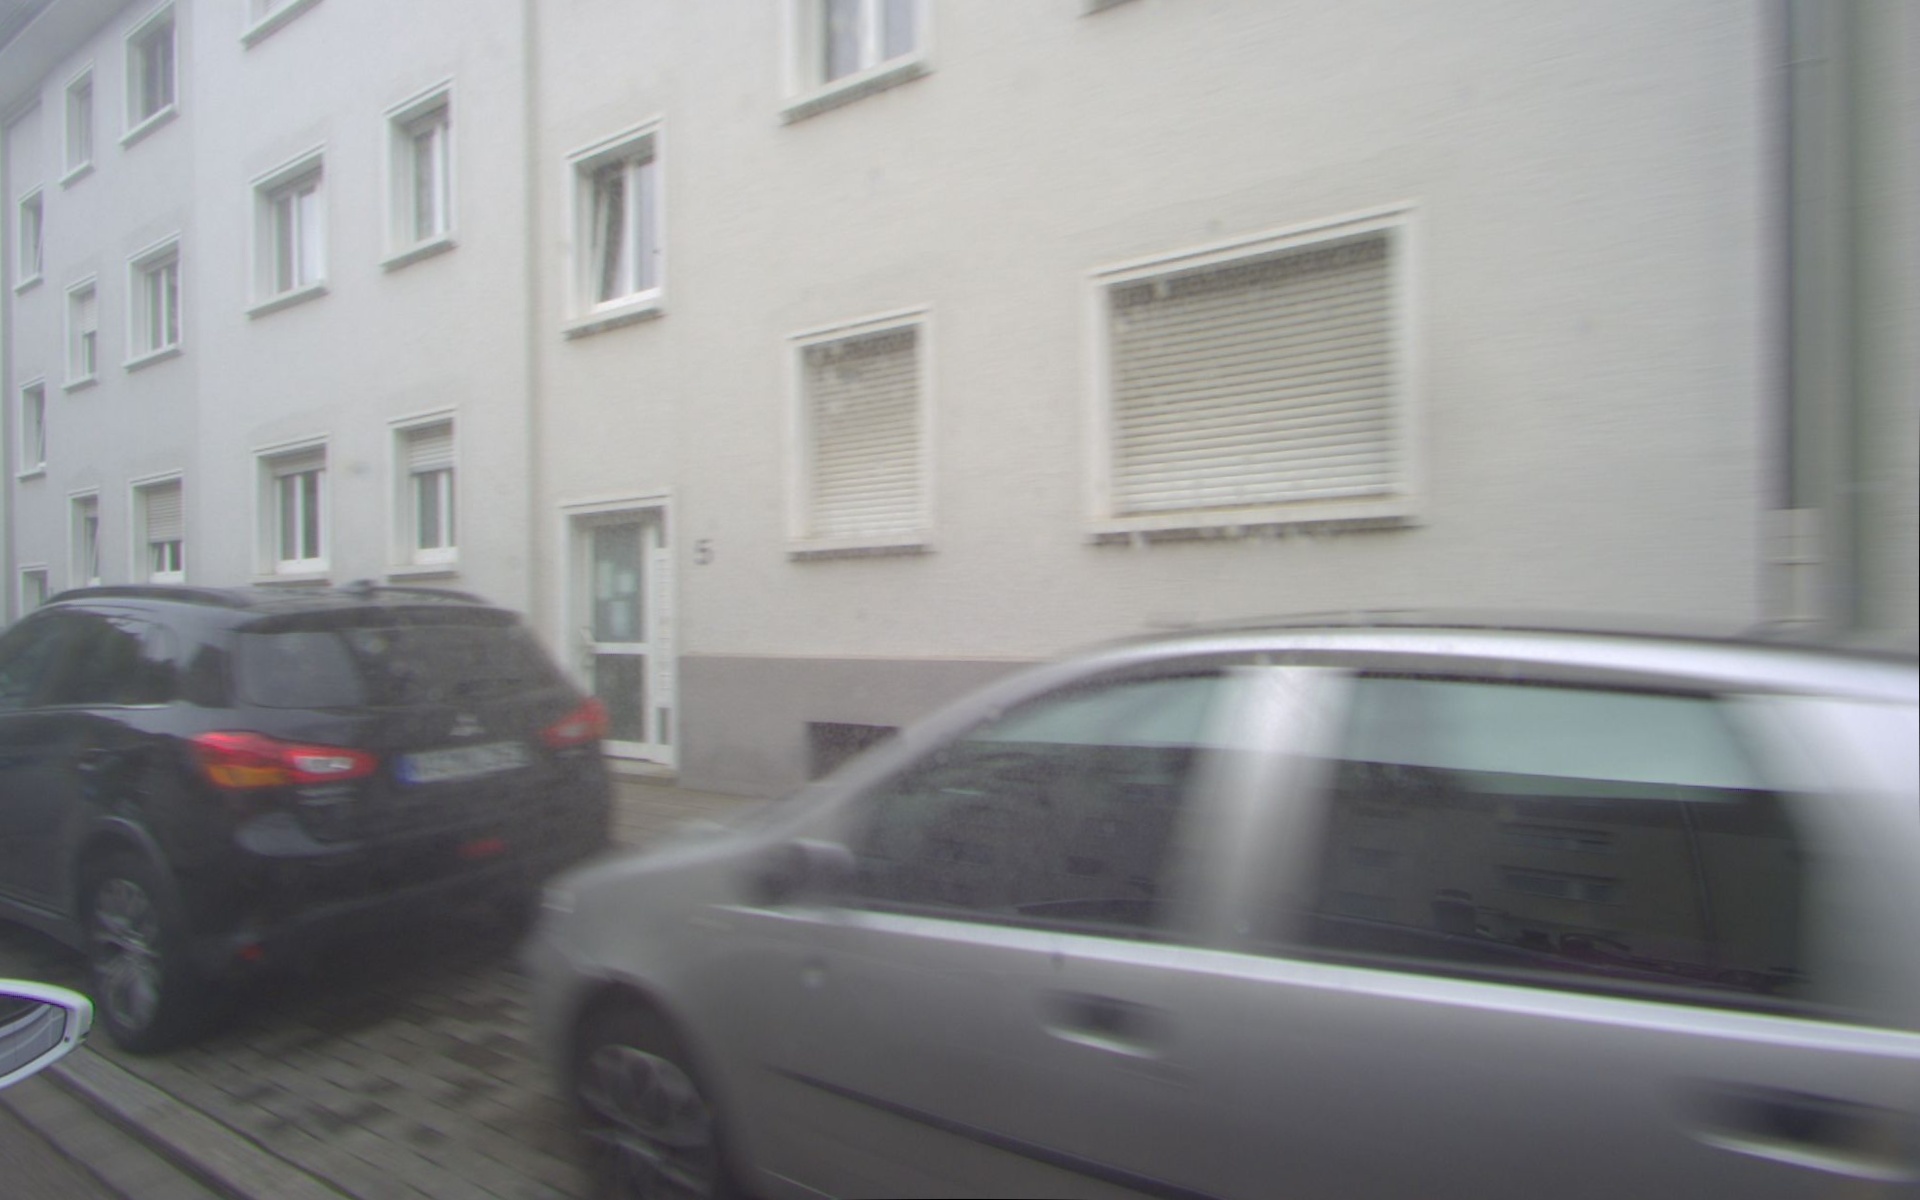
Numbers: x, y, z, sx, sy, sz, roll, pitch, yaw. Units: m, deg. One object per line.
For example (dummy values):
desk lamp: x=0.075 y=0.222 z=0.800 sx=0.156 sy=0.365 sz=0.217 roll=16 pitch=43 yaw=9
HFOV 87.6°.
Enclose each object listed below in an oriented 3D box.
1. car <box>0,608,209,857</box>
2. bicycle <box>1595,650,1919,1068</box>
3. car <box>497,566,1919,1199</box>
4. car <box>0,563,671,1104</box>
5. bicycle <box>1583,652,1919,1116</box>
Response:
car: x=-7.780 y=0.851 z=7.587 sx=4.606 sy=1.539 sz=1.817 roll=-1 pitch=-1 yaw=32
bicycle: x=3.145 y=0.779 z=3.043 sx=2.011 sy=1.191 sz=0.574 roll=-1 pitch=0 yaw=38
car: x=1.024 y=0.740 z=2.140 sx=4.033 sy=1.523 sz=1.816 roll=-1 pitch=0 yaw=33
car: x=-3.516 y=0.741 z=4.798 sx=4.029 sy=1.624 sz=1.819 roll=-1 pitch=-1 yaw=29
bicycle: x=2.886 y=0.765 z=2.695 sx=2.011 sy=1.191 sz=0.528 roll=-1 pitch=0 yaw=39
